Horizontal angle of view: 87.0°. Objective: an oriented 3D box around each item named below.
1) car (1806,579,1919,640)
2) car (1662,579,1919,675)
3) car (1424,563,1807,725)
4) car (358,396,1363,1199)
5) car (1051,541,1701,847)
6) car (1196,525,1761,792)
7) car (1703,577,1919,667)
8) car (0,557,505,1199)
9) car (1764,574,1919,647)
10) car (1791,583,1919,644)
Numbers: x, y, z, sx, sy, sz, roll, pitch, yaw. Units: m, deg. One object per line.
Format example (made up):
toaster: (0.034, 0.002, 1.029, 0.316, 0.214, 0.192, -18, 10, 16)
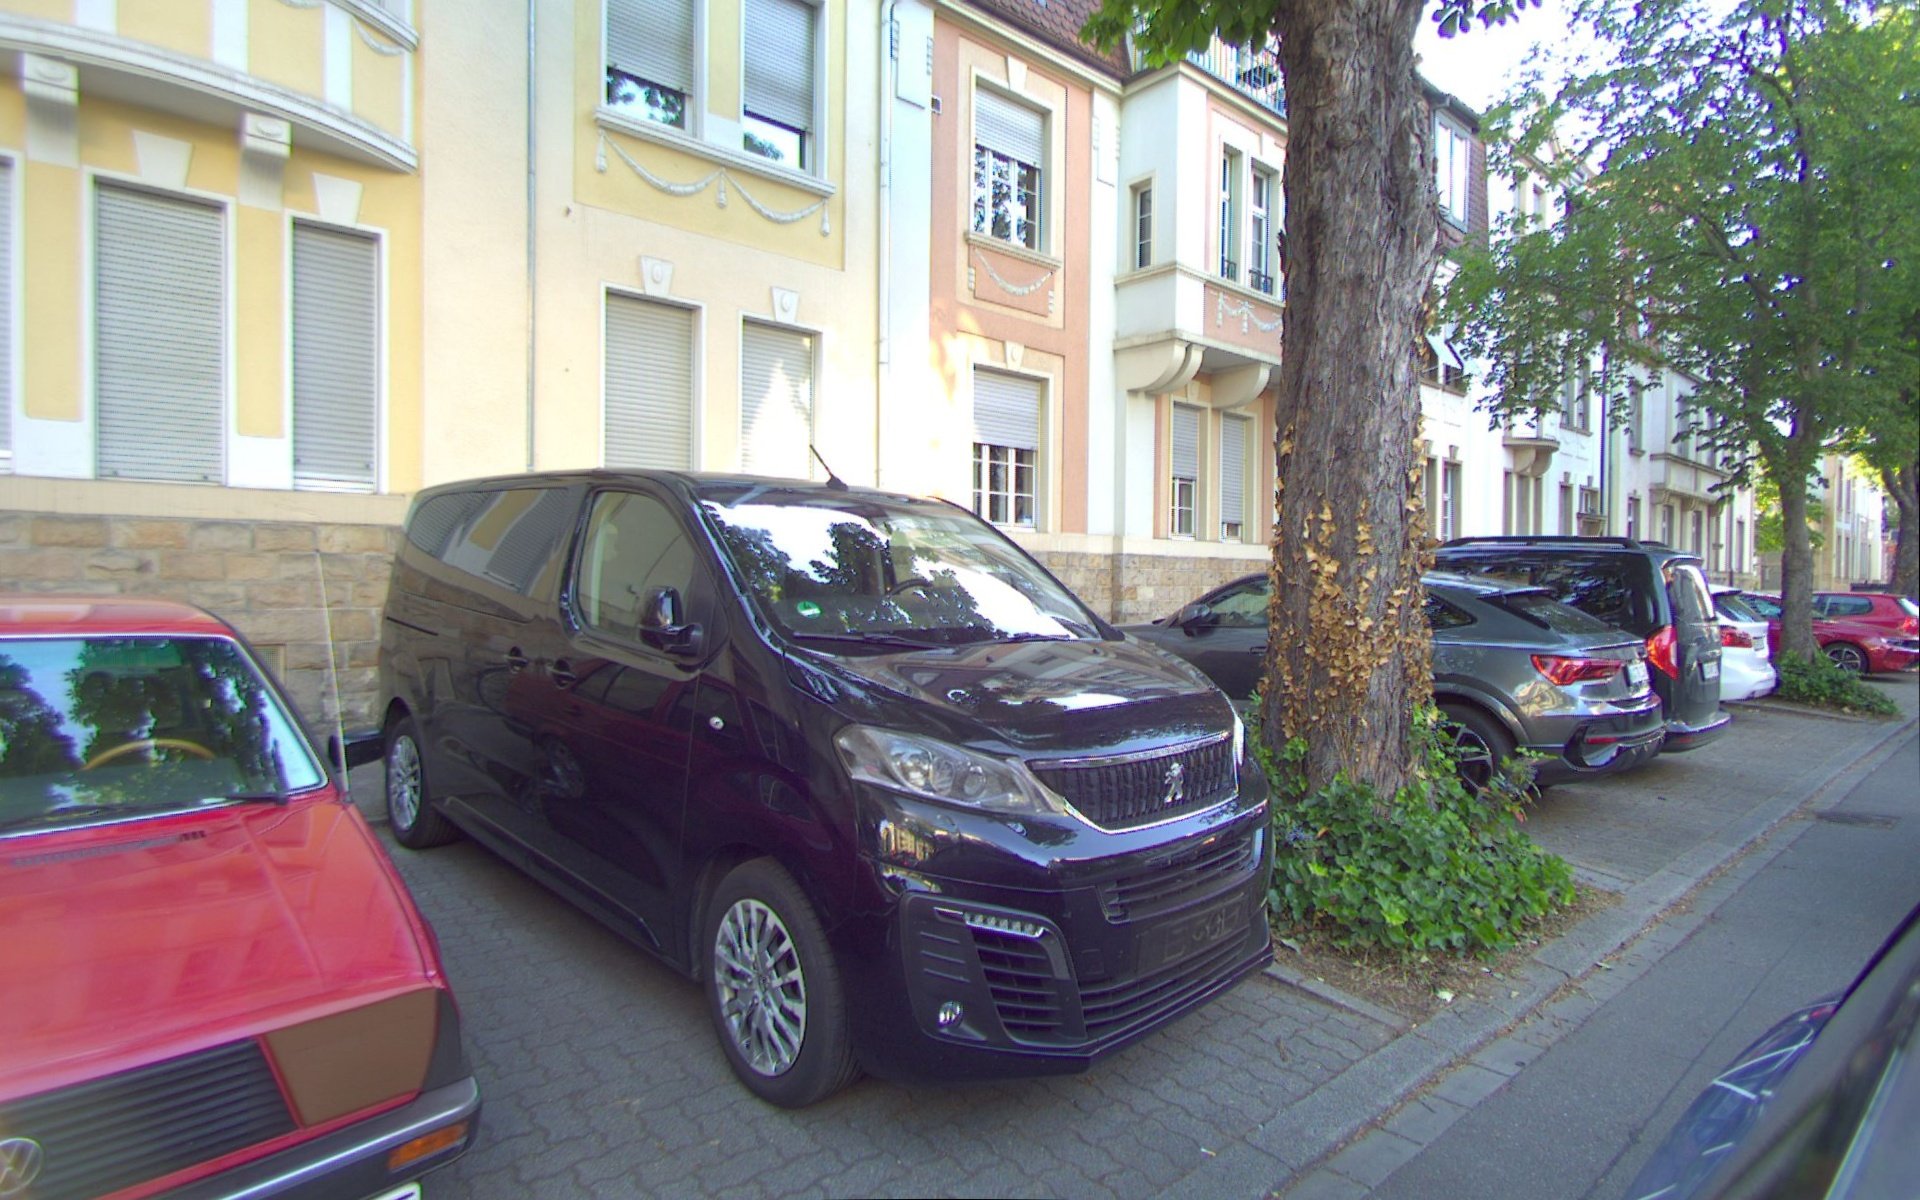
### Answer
car: (25.935, 0.256, 28.025, 1.511, 1.584, 3.621, 0, 2, -40)
car: (14.939, 0.401, 18.101, 1.511, 1.420, 3.621, 0, 3, -40)
car: (7.774, 0.400, 12.231, 1.513, 1.569, 3.616, -1, 3, -45)
car: (-0.988, 0.347, 4.529, 1.851, 1.846, 4.825, -1, 4, -44)
car: (2.782, 0.410, 7.523, 1.569, 1.611, 4.165, -1, 4, -44)
car: (4.348, 0.281, 9.018, 1.569, 1.849, 4.165, -1, 4, -44)
car: (16.865, 0.373, 19.670, 1.511, 1.482, 3.621, 0, 3, -40)
car: (-2.806, 0.587, 2.972, 1.532, 1.336, 3.917, -1, 4, -43)
car: (21.623, 0.223, 24.093, 1.511, 1.584, 3.621, 0, 2, -40)
car: (23.969, 0.339, 26.154, 1.511, 1.420, 3.621, 0, 3, -40)
